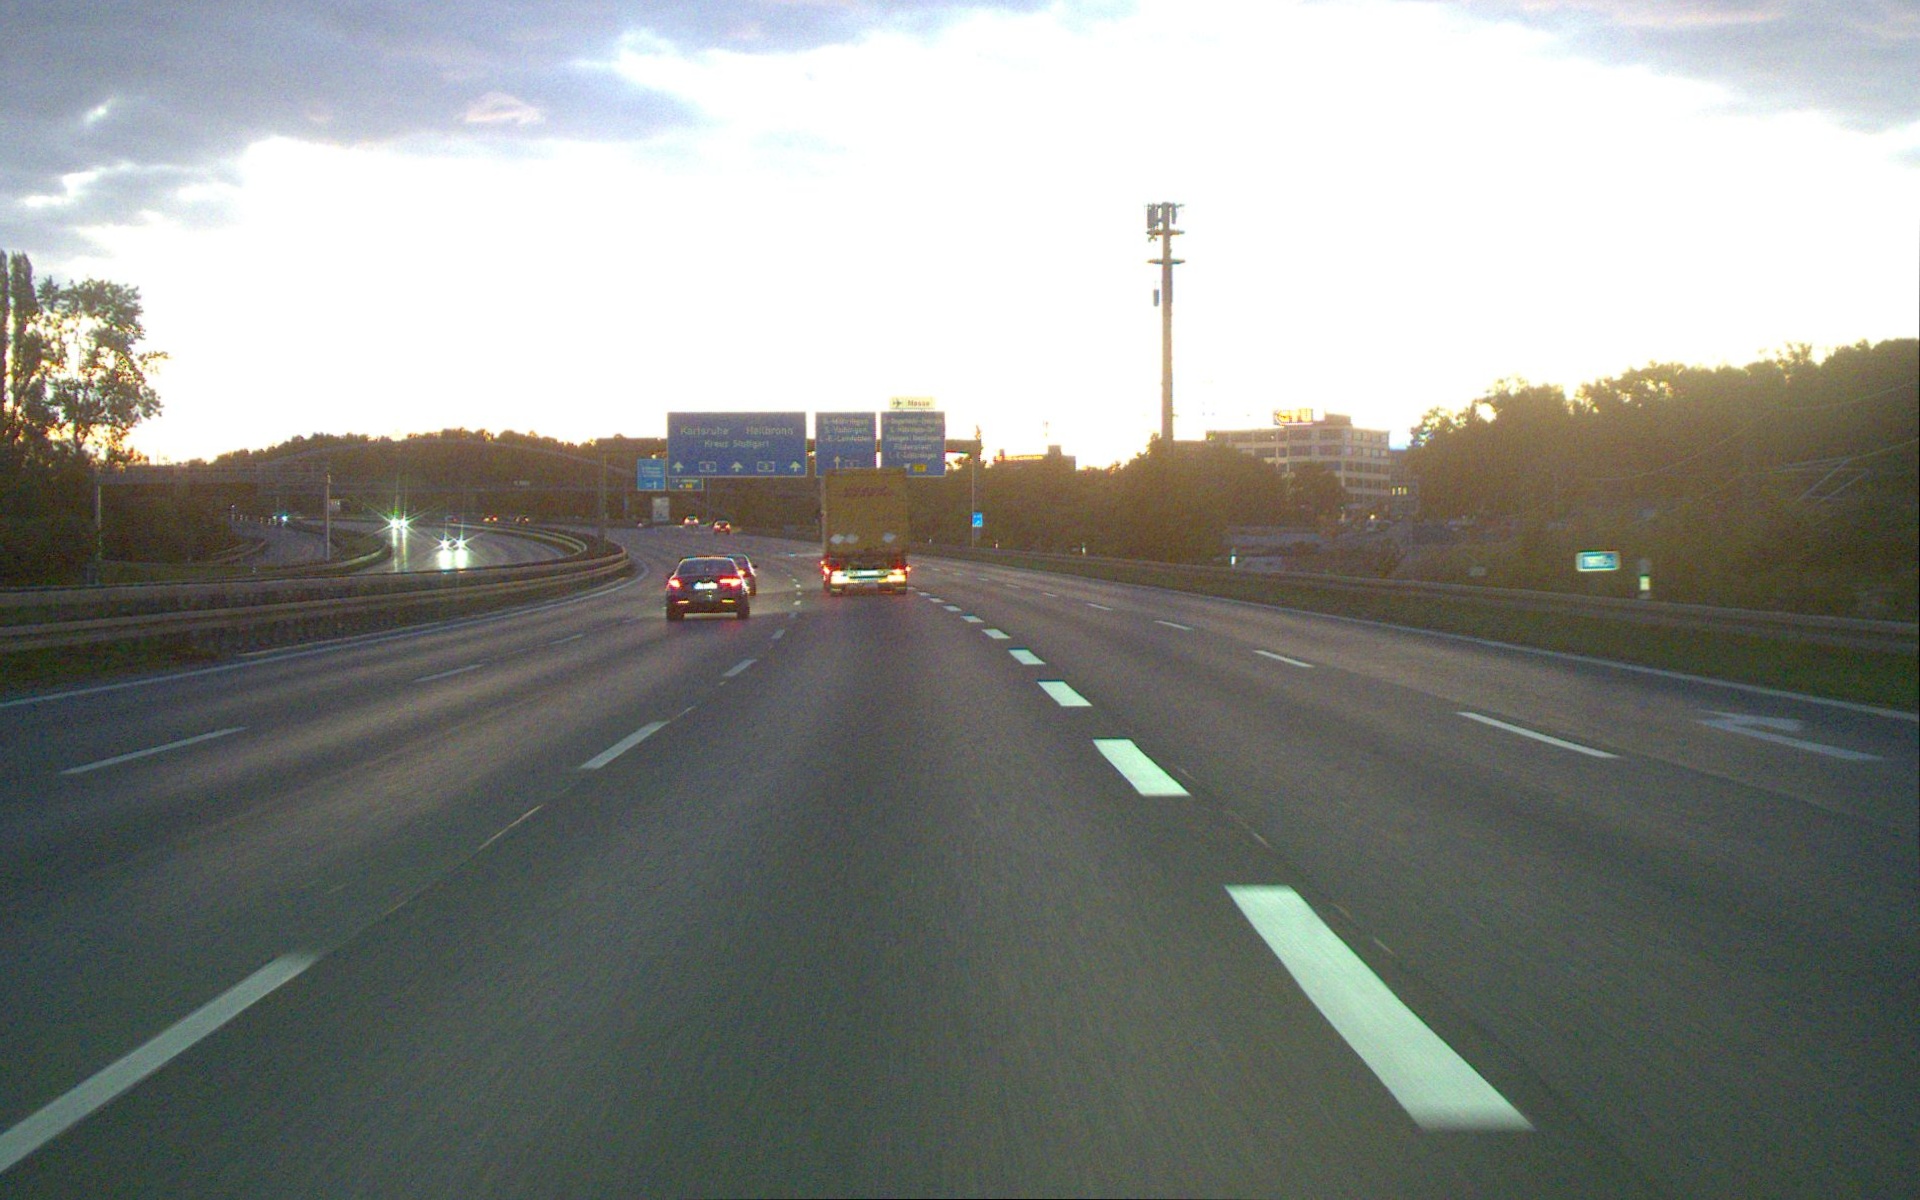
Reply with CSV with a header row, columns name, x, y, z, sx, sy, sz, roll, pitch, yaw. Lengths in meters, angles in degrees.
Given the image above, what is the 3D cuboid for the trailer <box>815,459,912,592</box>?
name,x,y,z,sx,sy,sz,roll,pitch,yaw
trailer,-3.186,-2.444,111.256,2.721,4.057,8.833,-2,2,-3

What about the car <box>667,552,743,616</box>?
name,x,y,z,sx,sy,sz,roll,pitch,yaw
car,-5.900,-0.377,79.520,1.689,1.396,3.409,-2,0,-4

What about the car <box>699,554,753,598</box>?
name,x,y,z,sx,sy,sz,roll,pitch,yaw
car,-7.939,-0.795,116.933,1.689,1.396,3.409,-2,0,-2
